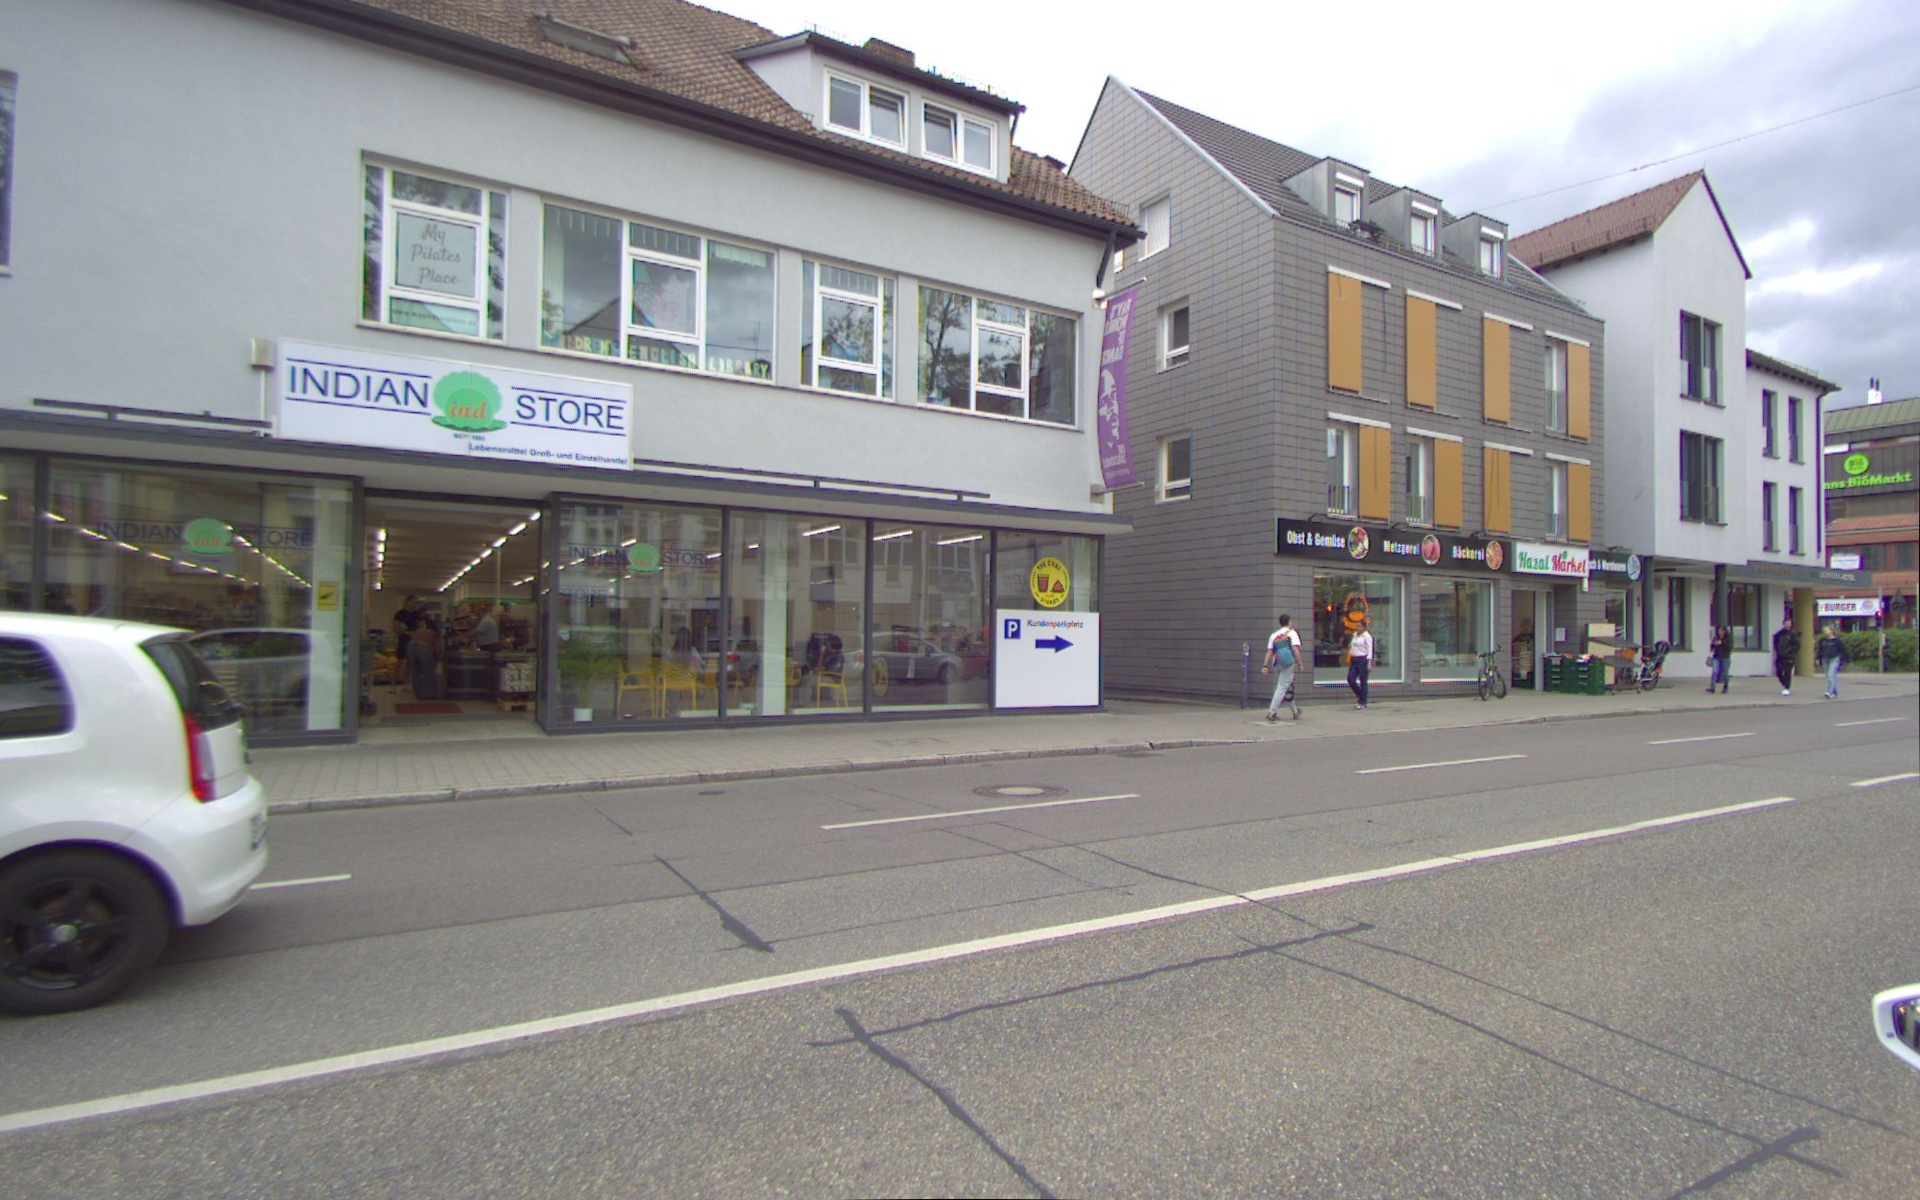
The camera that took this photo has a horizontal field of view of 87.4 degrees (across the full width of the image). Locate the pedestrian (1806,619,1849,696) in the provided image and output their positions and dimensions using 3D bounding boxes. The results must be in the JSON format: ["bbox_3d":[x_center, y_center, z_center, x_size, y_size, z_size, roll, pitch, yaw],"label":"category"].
[{"bbox_3d":[20.847,1.371,24.142,0.643,1.814,0.676,1,-2,-40],"label":"pedestrian"}]

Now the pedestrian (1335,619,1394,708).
[{"bbox_3d":[7.574,1.169,18.805,0.744,1.631,0.725,1,-1,-30],"label":"pedestrian"}]

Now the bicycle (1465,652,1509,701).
[{"bbox_3d":[11.094,1.593,21.126,1.472,0.966,0.323,2,-2,-41],"label":"bicycle"}]

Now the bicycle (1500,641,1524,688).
[{"bbox_3d":[13.823,1.601,25.166,0.380,1.142,1.289,0,-2,23],"label":"bicycle"}]

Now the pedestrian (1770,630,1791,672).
[{"bbox_3d":[33.694,2.083,41.242,0.654,1.671,0.790,-1,-2,39],"label":"pedestrian"}]

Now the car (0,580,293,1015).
[{"bbox_3d":[-4.564,0.693,3.671,3.424,1.508,1.566,1,-2,-31],"label":"car"}]

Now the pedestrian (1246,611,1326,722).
[{"bbox_3d":[5.337,1.065,16.464,0.969,1.728,0.750,1,2,-30],"label":"pedestrian"}]

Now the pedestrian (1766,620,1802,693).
[{"bbox_3d":[20.609,1.398,25.132,0.641,1.799,0.564,1,-1,-37],"label":"pedestrian"}]

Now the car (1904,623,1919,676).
[{"bbox_3d":[35.971,1.723,34.836,1.959,1.913,5.162,-1,-2,6],"label":"car"}]

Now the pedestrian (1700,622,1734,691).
[{"bbox_3d":[18.666,1.384,24.766,0.643,1.672,0.557,0,-1,37],"label":"pedestrian"}]

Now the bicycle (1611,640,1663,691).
[{"bbox_3d":[16.767,1.603,24.862,1.806,1.201,0.384,1,-2,-33],"label":"bicycle"}]
